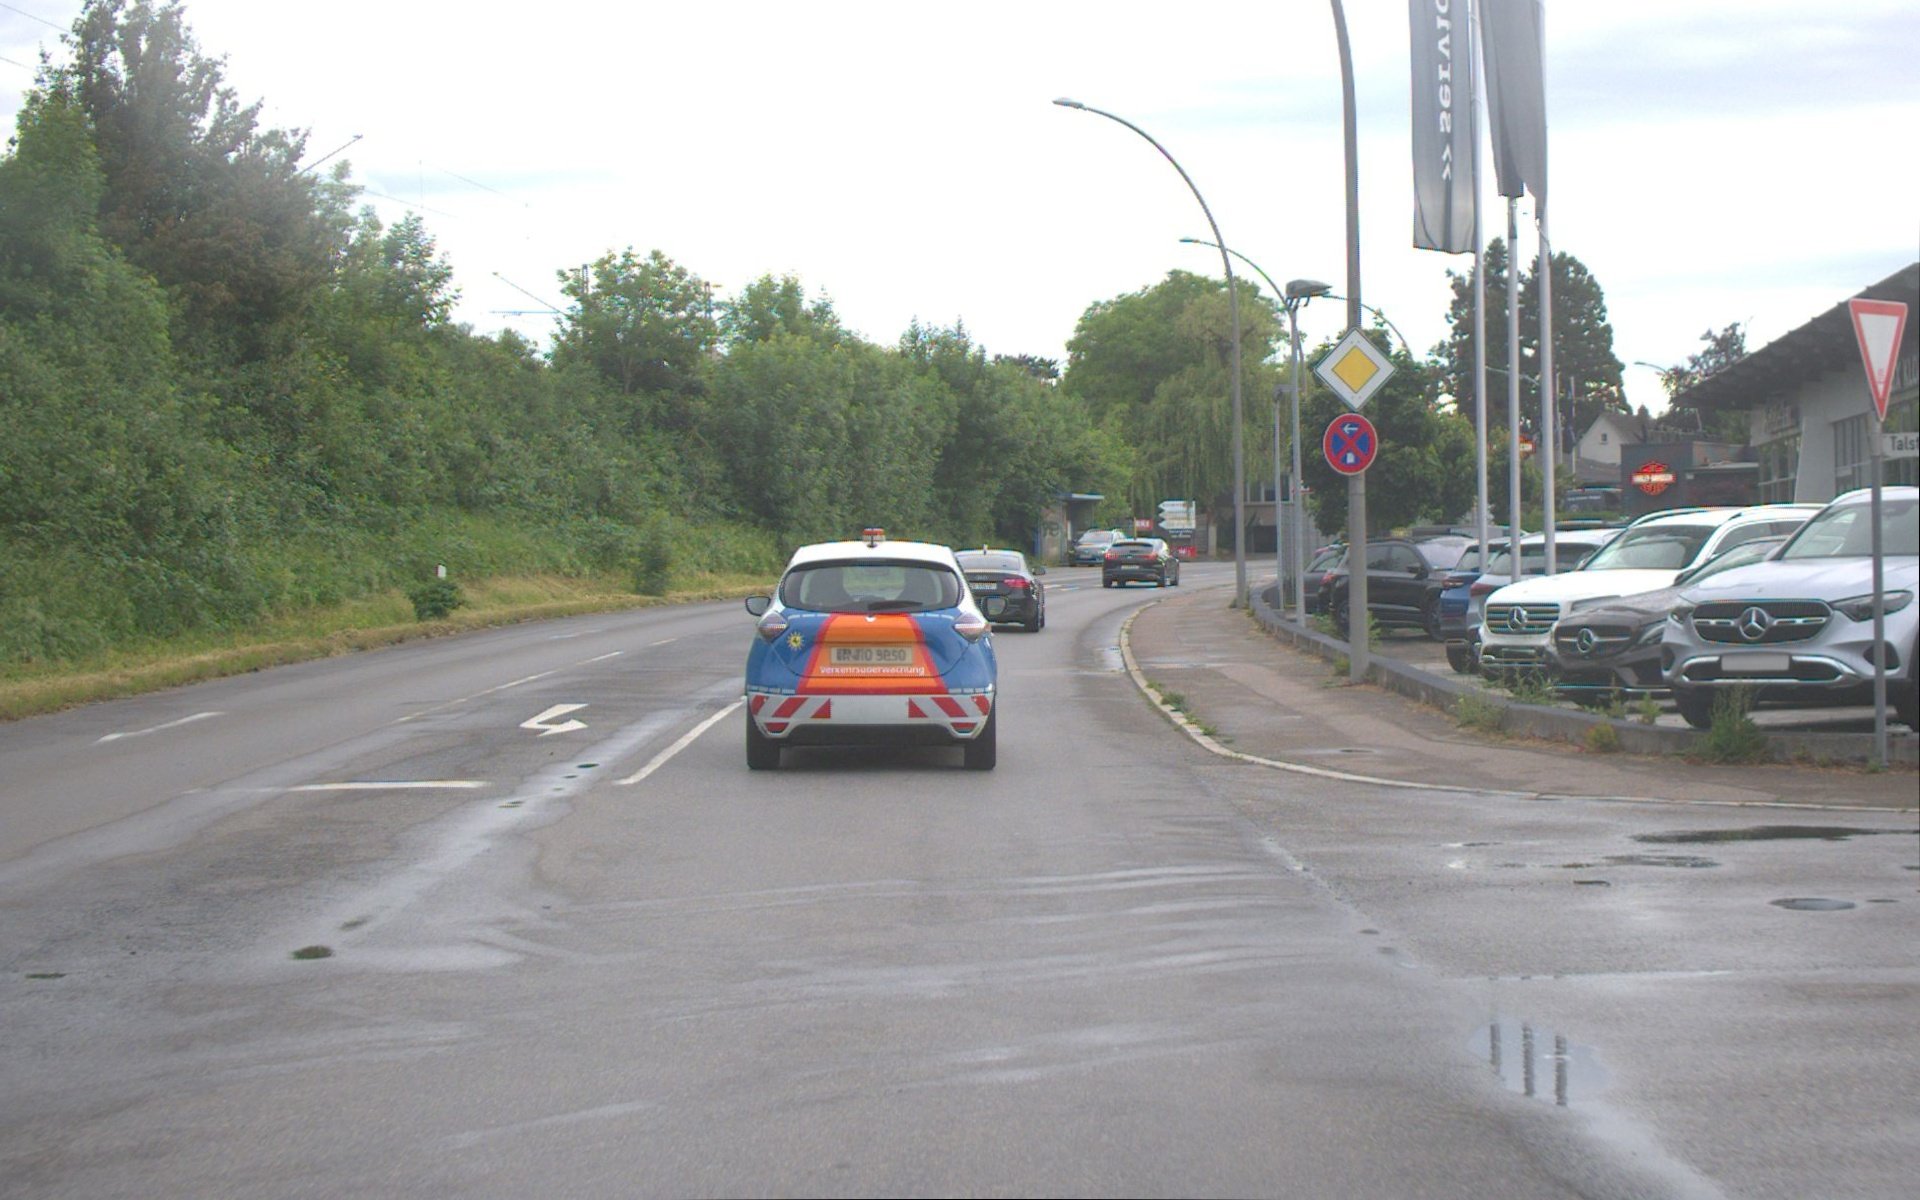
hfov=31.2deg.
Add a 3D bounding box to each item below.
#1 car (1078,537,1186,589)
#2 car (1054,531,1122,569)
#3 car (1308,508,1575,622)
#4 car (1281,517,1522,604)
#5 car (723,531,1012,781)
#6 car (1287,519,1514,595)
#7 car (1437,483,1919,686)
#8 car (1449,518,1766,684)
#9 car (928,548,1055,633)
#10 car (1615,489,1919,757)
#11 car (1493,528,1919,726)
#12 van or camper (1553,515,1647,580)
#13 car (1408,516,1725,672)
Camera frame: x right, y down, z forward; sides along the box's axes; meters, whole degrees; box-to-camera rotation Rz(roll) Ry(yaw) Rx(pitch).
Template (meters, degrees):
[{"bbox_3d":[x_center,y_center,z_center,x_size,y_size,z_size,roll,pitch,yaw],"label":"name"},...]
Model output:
[{"bbox_3d":[4.947,-1.082,98.494,1.995,1.415,3.996,-1,1,20],"label":"car"},{"bbox_3d":[5.083,-1.966,135.937,1.994,1.469,4.698,1,1,11],"label":"car"},{"bbox_3d":[7.414,-0.557,53.410,1.836,1.602,4.550,-3,2,-26],"label":"car"},{"bbox_3d":[8.078,-0.731,63.060,3.997,1.550,1.894,1,1,41],"label":"car"},{"bbox_3d":[-0.656,0.352,24.687,1.888,1.626,4.000,1,1,-1],"label":"car"},{"bbox_3d":[9.964,-0.989,77.953,4.692,1.657,1.996,1,1,34],"label":"car"},{"bbox_3d":[6.681,-0.176,31.311,4.414,1.646,1.927,-3,1,-33],"label":"car"},{"bbox_3d":[7.096,-0.010,37.435,1.730,1.594,3.806,-2,1,39],"label":"car"},{"bbox_3d":[0.568,-0.173,58.142,1.721,1.371,3.933,1,1,7],"label":"car"},{"bbox_3d":[6.531,0.095,23.563,1.965,1.665,4.354,0,1,43],"label":"car"},{"bbox_3d":[6.521,0.170,27.586,4.128,1.389,1.852,-2,1,-28],"label":"car"},{"bbox_3d":[26.030,-2.147,139.583,2.044,2.584,6.580,0,1,26],"label":"van or camper"},{"bbox_3d":[7.357,-0.097,41.419,1.841,1.626,4.357,-3,0,38],"label":"car"}]
